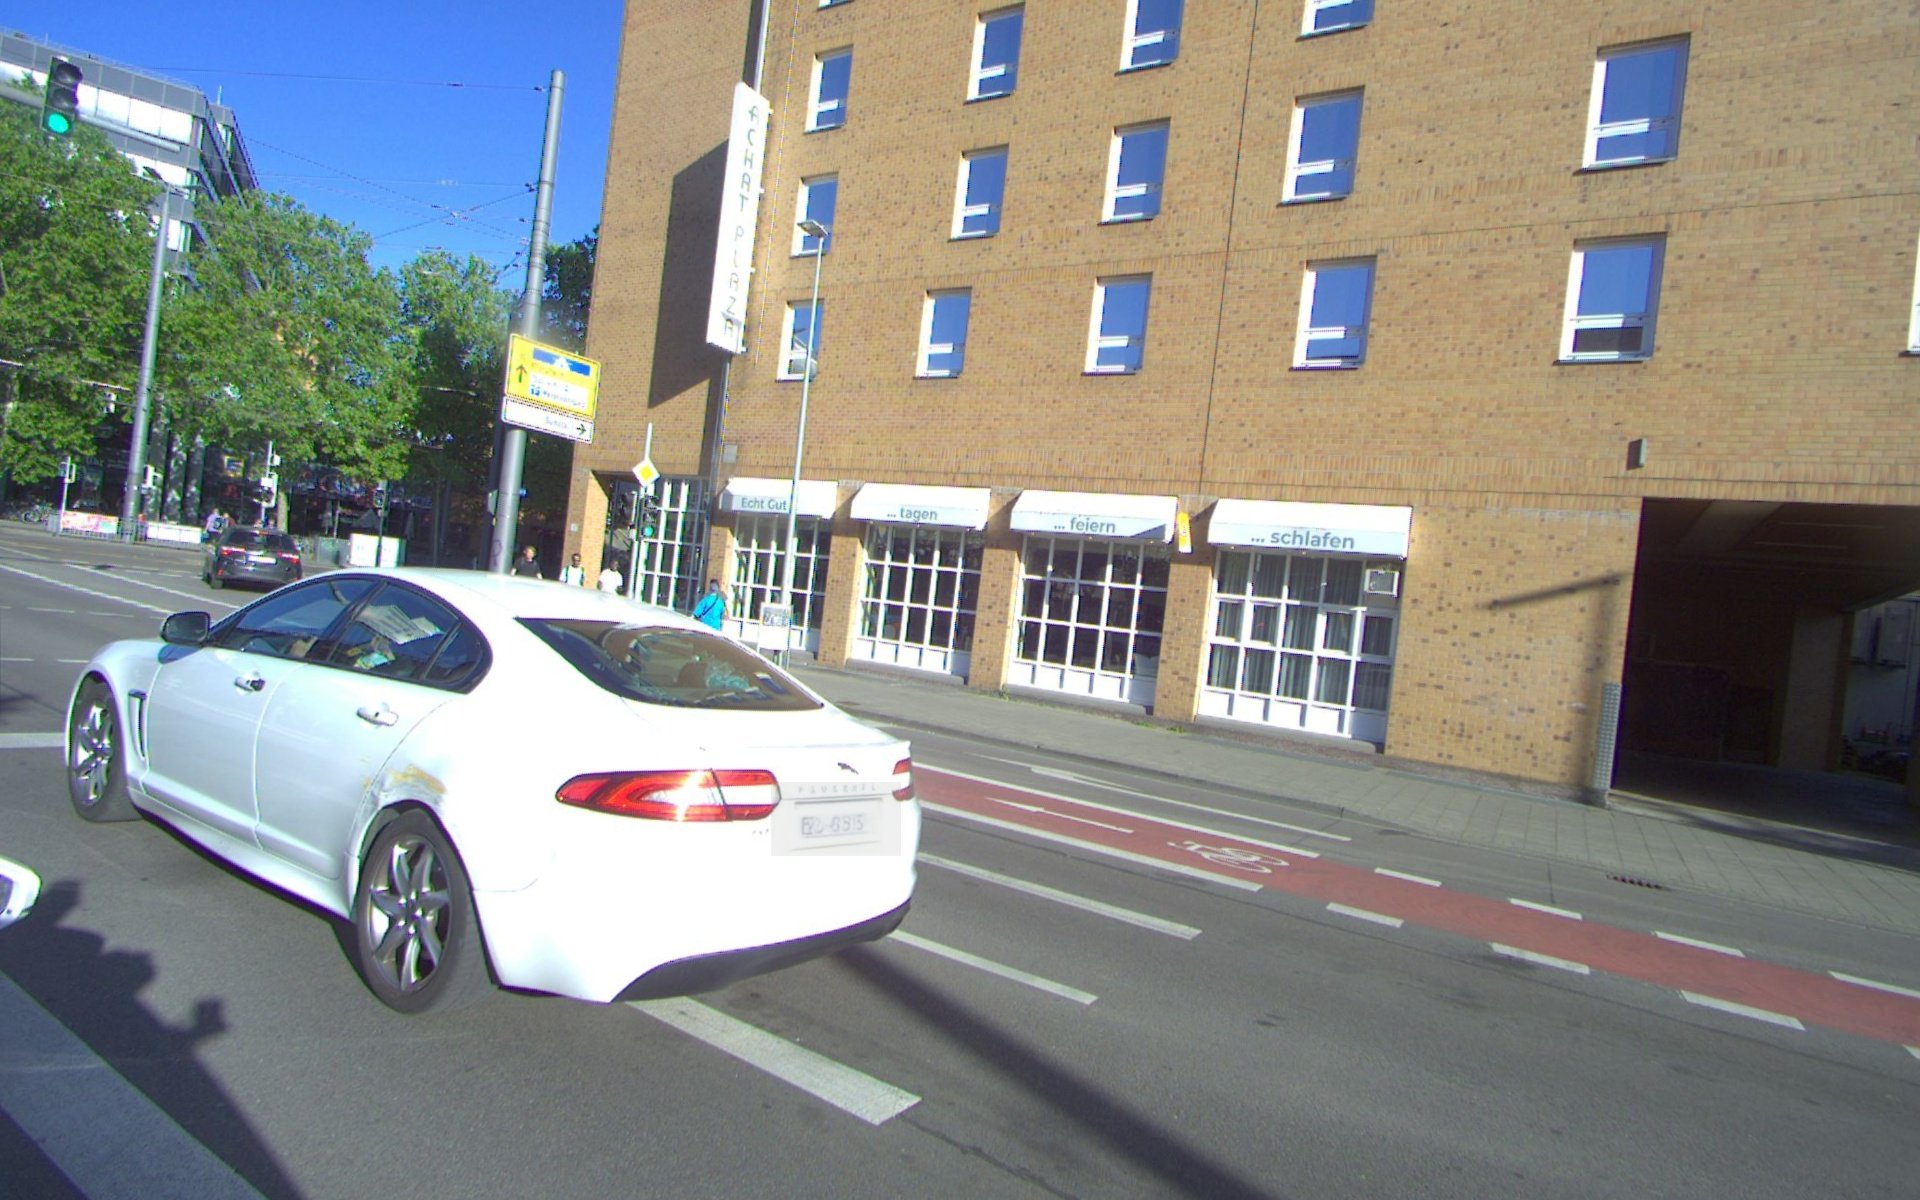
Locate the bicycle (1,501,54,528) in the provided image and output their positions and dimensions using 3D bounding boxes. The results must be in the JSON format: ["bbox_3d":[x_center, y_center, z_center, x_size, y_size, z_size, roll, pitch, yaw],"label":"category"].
[{"bbox_3d":[-48.718,-4.471,52.575,0.354,1.058,1.885,7,-2,31],"label":"bicycle"}]

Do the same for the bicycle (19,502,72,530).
[{"bbox_3d":[-46.087,-4.237,50.722,0.354,1.058,1.884,6,-2,31],"label":"bicycle"}]

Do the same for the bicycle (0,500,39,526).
[{"bbox_3d":[-50.155,-4.640,53.320,0.354,1.058,1.885,7,-2,31],"label":"bicycle"}]

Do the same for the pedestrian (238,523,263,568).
[{"bbox_3d":[-26.096,-1.992,37.018,0.563,1.550,0.695,8,-2,-38],"label":"pedestrian"}]

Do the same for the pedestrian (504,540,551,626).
[{"bbox_3d":[-9.696,-0.374,22.585,0.726,1.813,0.510,7,-1,-19],"label":"pedestrian"}]

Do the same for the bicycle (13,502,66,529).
[{"bbox_3d":[-46.744,-4.292,51.118,0.354,1.058,1.884,6,-2,31],"label":"bicycle"}]

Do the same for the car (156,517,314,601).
[{"bbox_3d":[-17.238,-0.997,23.870,3.977,1.467,1.733,7,-1,35],"label":"car"}]

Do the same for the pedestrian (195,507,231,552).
[{"bbox_3d":[-31.375,-2.944,42.239,0.747,1.724,0.834,6,-1,32],"label":"pedestrian"}]

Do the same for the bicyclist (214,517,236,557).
[{"bbox_3d":[-36.268,-3.121,49.648,0.396,1.859,0.585,6,-1,31],"label":"bicyclist"}]

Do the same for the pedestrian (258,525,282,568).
[{"bbox_3d":[-25.754,-1.998,37.555,0.563,1.496,0.695,8,-2,-37],"label":"pedestrian"}]

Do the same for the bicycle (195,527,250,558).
[{"bbox_3d":[-36.331,-2.817,49.588,0.414,1.228,2.046,6,-2,32],"label":"bicycle"}]

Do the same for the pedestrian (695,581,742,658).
[{"bbox_3d":[-4.905,0.401,20.464,0.543,1.495,0.593,6,0,32],"label":"pedestrian"}]

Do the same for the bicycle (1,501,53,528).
[{"bbox_3d":[-48.387,-4.432,52.202,0.354,1.058,1.884,6,-2,31],"label":"bicycle"}]

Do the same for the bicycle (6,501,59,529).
[{"bbox_3d":[-47.839,-4.374,51.913,0.354,1.058,1.884,7,-2,31],"label":"bicycle"}]

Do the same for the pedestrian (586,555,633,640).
[{"bbox_3d":[-7.772,-0.059,22.283,0.673,1.802,0.591,6,1,43],"label":"pedestrian"}]

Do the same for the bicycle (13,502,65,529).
[{"bbox_3d":[-47.324,-4.328,51.710,0.354,1.058,1.884,6,-2,31],"label":"bicycle"}]

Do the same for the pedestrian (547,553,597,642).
[{"bbox_3d":[-8.248,-0.051,21.379,0.670,1.804,0.592,7,4,32],"label":"pedestrian"}]

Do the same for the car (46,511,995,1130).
[{"bbox_3d":[-2.239,0.556,4.635,4.381,1.447,1.805,7,-1,33],"label":"car"}]

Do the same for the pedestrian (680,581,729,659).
[{"bbox_3d":[-5.011,0.394,19.731,0.591,1.472,0.592,6,3,32],"label":"pedestrian"}]

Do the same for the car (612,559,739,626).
[{"bbox_3d":[-11.401,-0.260,40.487,1.785,2.031,4.453,6,-3,43],"label":"car"}]

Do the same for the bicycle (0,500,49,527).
[{"bbox_3d":[-49.148,-4.522,52.809,0.354,1.058,1.885,7,-2,31],"label":"bicycle"}]
